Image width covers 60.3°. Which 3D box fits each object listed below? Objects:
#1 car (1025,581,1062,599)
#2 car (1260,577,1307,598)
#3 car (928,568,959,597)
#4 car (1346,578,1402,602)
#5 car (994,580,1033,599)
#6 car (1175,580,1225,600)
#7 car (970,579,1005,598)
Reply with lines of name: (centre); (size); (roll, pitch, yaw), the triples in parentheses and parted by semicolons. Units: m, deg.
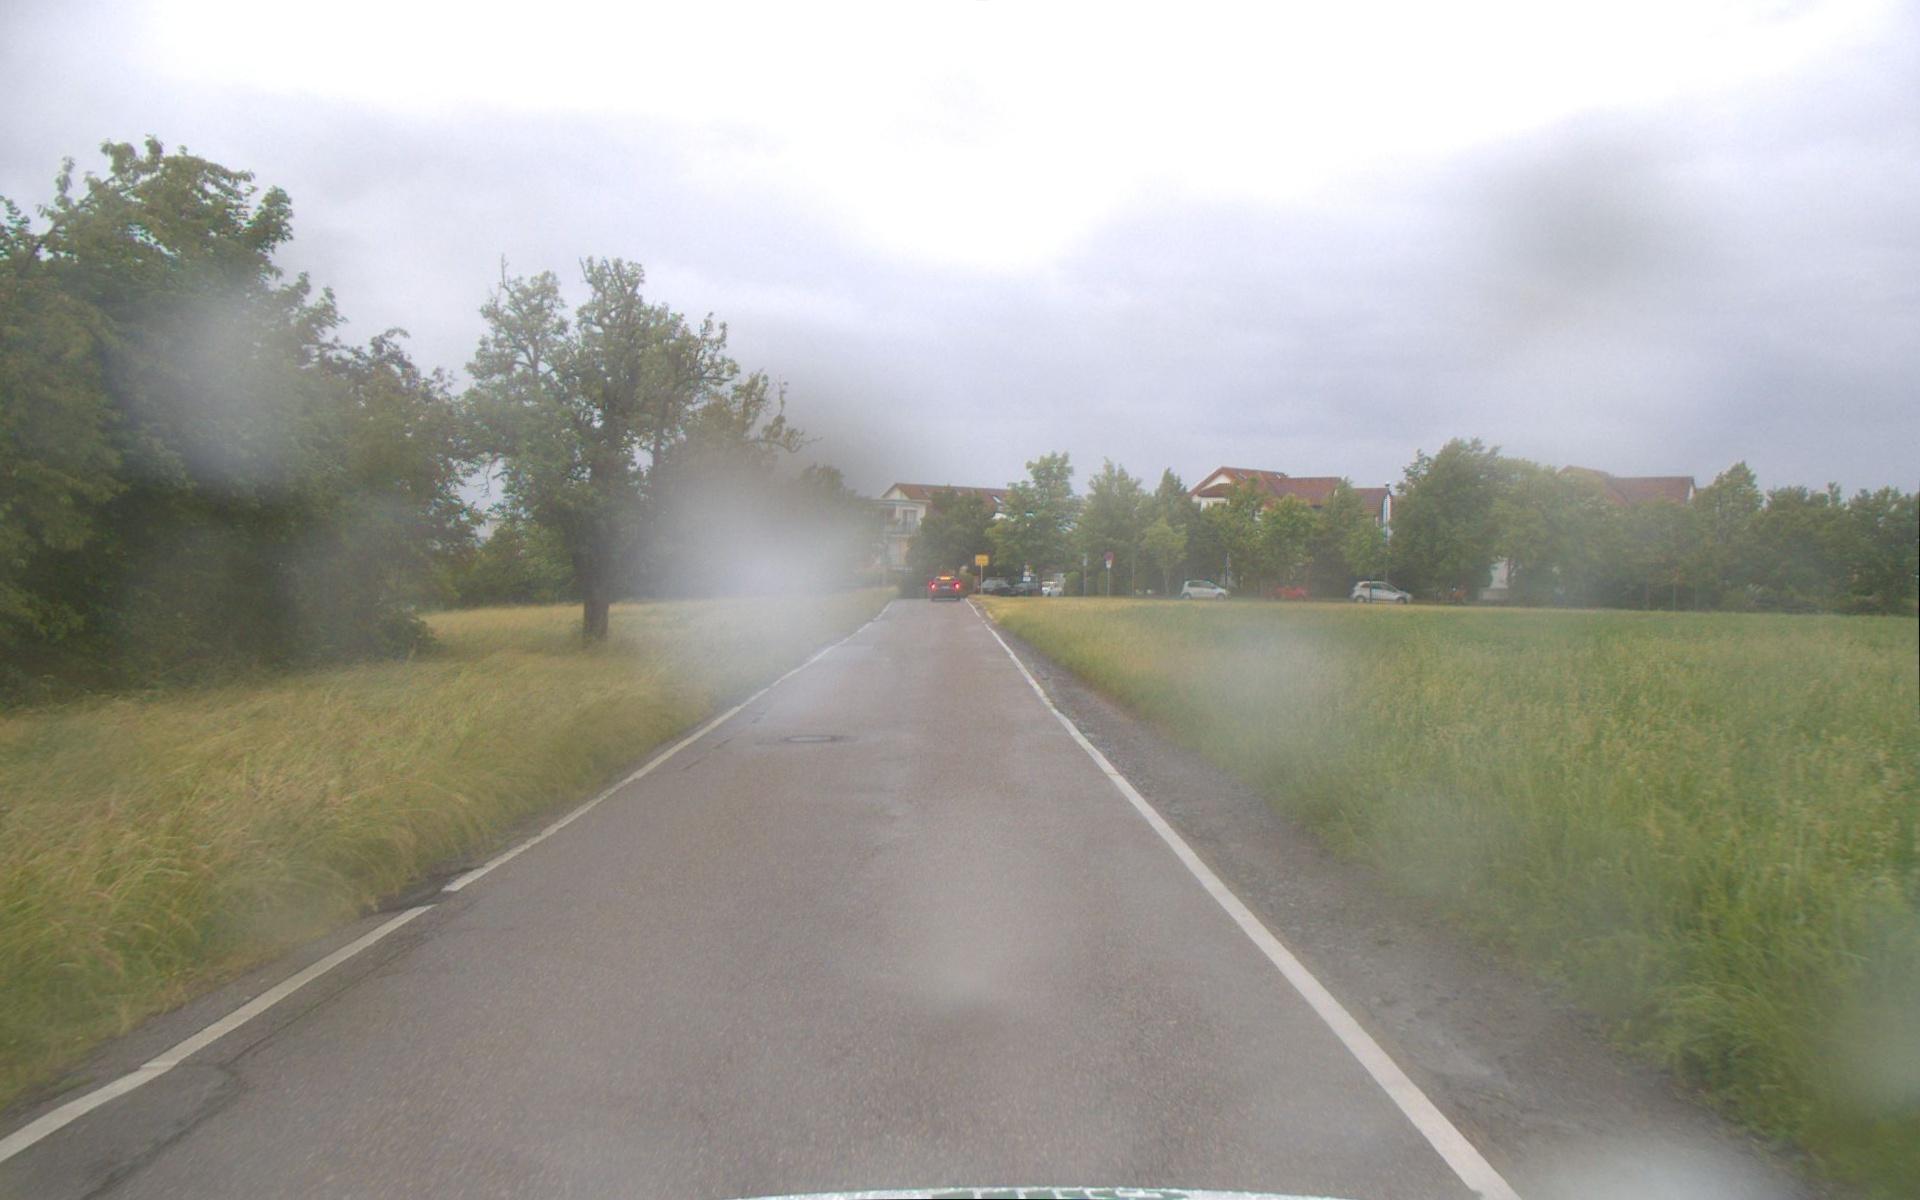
car: (7.730, -0.904, 153.091); (1.632, 1.573, 3.986); (0, -1, 35)
car: (22.301, -0.862, 114.088); (3.124, 1.394, 1.573); (0, -1, 12)
car: (-0.971, -1.014, 98.614); (1.777, 1.622, 4.000); (0, -1, 0)
car: (28.148, -0.700, 112.564); (3.630, 1.591, 1.612); (0, -1, 12)
car: (4.812, -0.936, 148.776); (1.632, 1.573, 3.986); (0, -1, 35)
car: (16.770, -0.707, 115.405); (3.317, 1.394, 1.549); (0, -1, 12)
car: (2.385, -0.958, 144.185); (1.627, 1.573, 3.998); (0, -1, 24)
